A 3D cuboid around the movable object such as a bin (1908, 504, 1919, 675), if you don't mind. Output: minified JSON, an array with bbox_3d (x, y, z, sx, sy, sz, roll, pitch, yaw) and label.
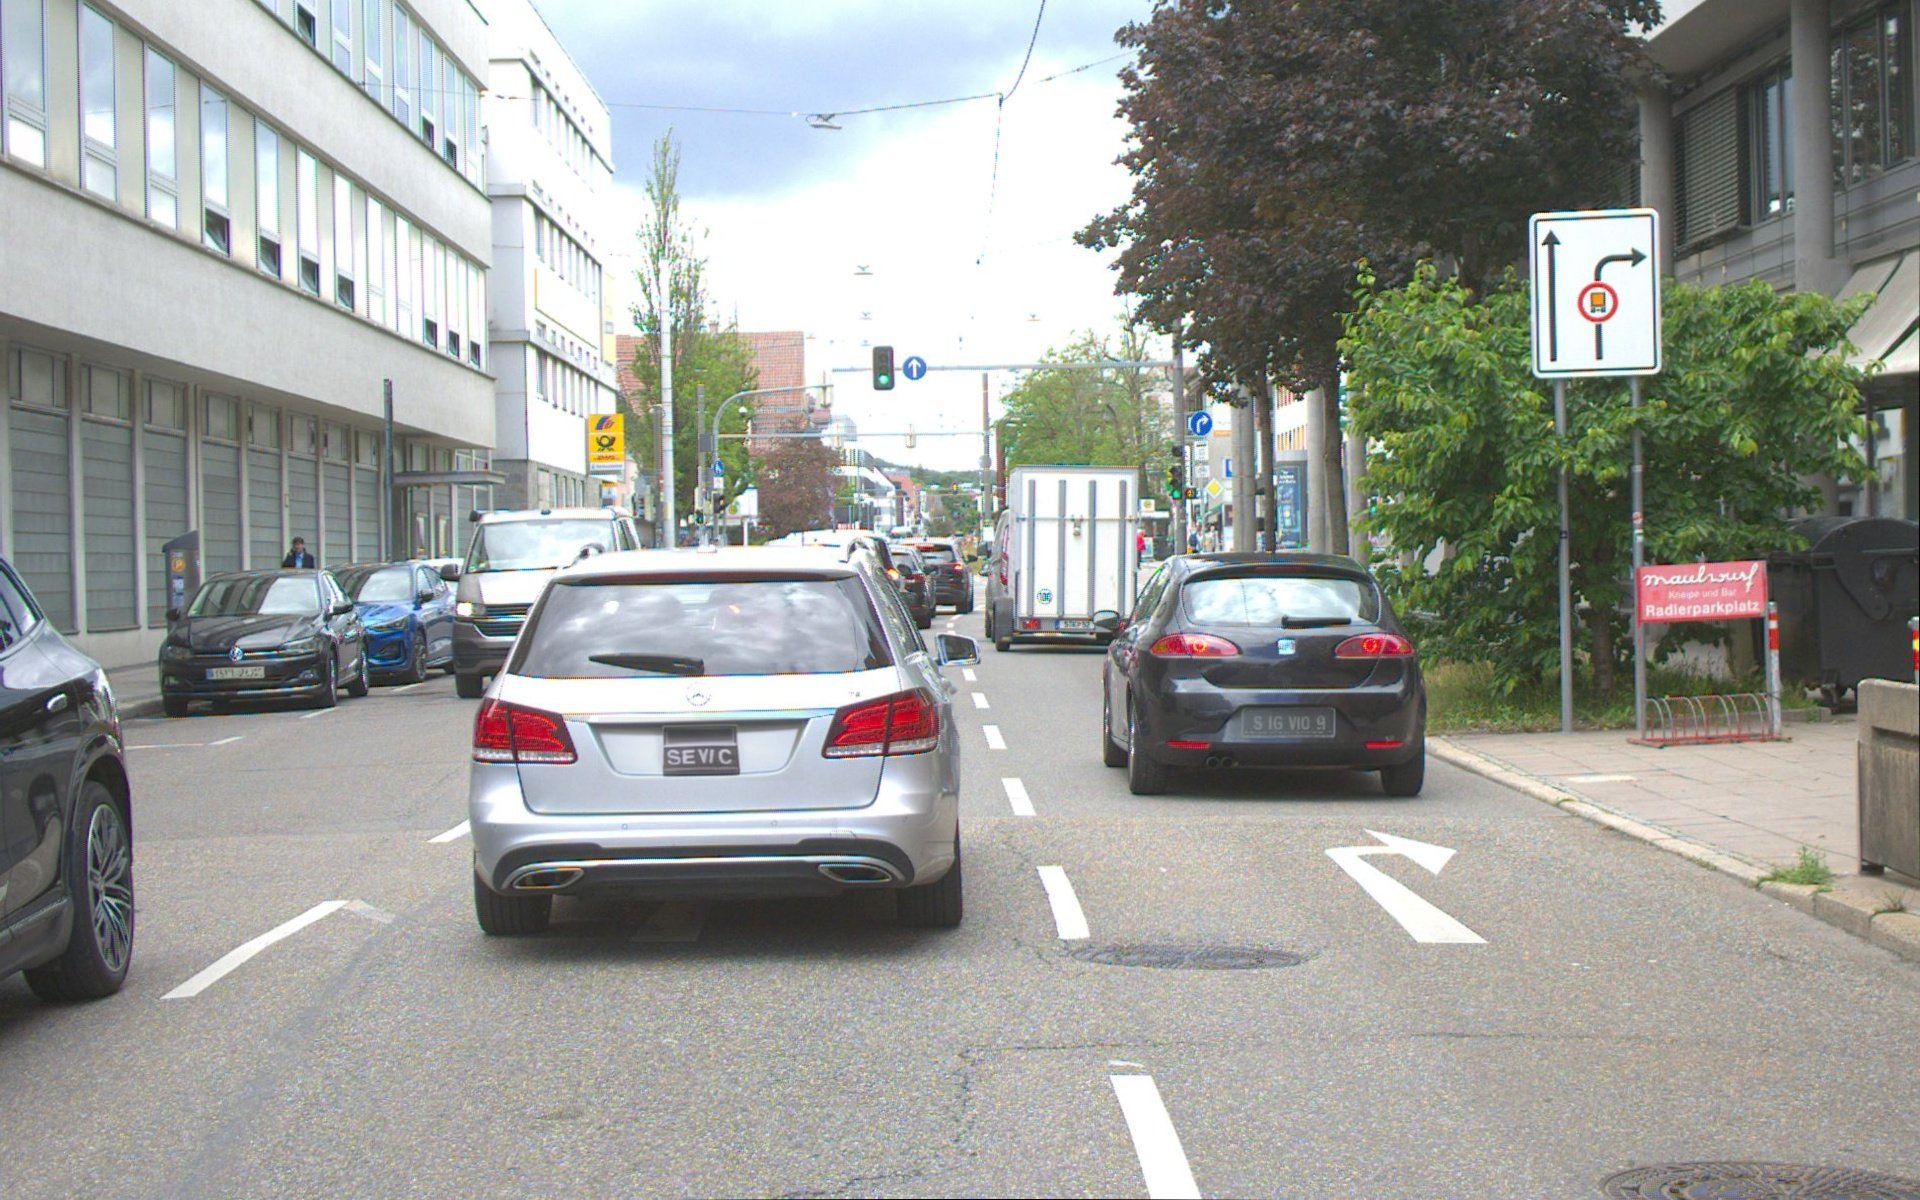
[{"bbox_3d":[8.813,-0.110,29.959,0.821,1.499,0.732,-3,0,1],"label":"movable object such as a bin"}]

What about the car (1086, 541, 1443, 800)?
[{"bbox_3d":[1.795,0.368,21.382,1.765,1.428,3.829,-1,1,-1],"label":"car"}]

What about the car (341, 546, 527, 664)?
[{"bbox_3d":[-7.215,0.031,47.546,1.993,1.511,4.175,-1,1,-1],"label":"car"}]

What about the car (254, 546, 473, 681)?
[{"bbox_3d":[-7.187,0.118,41.840,1.993,1.511,4.175,-1,1,-1],"label":"car"}]

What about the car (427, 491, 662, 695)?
[{"bbox_3d":[-4.455,-0.115,37.576,1.993,2.007,4.903,-2,1,-1],"label":"car"}]

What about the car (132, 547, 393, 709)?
[{"bbox_3d":[-7.243,0.245,36.107,1.912,1.511,4.175,-2,1,-1],"label":"car"}]

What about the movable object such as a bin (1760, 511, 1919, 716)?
[{"bbox_3d":[6.710,0.084,25.815,0.943,1.465,1.446,-3,1,-3],"label":"movable object such as a bin"}]

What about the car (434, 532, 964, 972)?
[{"bbox_3d":[-0.940,0.489,13.755,1.803,1.487,3.738,-1,1,-1],"label":"car"}]

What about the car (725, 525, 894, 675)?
[{"bbox_3d":[-1.651,-0.038,38.639,1.803,1.596,3.738,0,1,-1],"label":"car"}]

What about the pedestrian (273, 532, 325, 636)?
[{"bbox_3d":[-10.420,-0.260,54.236,0.656,1.617,0.681,-1,1,1],"label":"pedestrian"}]

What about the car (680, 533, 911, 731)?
[{"bbox_3d":[-1.347,0.218,29.221,1.803,1.547,3.738,-1,1,-1],"label":"car"}]

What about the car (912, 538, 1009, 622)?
[{"bbox_3d":[-0.023,-0.411,67.007,1.803,1.596,3.738,0,1,-1],"label":"car"}]

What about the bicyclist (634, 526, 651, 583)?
[{"bbox_3d":[-9.557,-1.376,103.482,0.445,1.691,0.555,0,1,-1],"label":"bicyclist"}]

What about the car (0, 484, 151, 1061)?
[{"bbox_3d":[-3.904,0.566,10.084,1.993,1.733,4.554,-3,1,-1],"label":"car"}]

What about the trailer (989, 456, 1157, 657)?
[{"bbox_3d":[1.505,-0.624,47.743,1.993,2.598,5.350,-1,1,-1],"label":"trailer"}]

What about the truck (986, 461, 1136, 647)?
[{"bbox_3d":[1.445,-0.686,50.495,1.993,2.598,3.260,-1,1,-1],"label":"truck"}]

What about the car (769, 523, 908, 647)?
[{"bbox_3d":[-1.609,-0.227,46.364,1.803,1.596,3.738,0,1,-1],"label":"car"}]

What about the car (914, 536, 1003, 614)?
[{"bbox_3d":[-0.066,-0.557,72.722,1.803,1.596,3.738,0,1,-1],"label":"car"}]

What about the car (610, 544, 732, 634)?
[{"bbox_3d":[-4.924,-0.211,58.957,1.769,1.408,4.175,-2,1,-1],"label":"car"}]

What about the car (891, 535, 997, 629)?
[{"bbox_3d":[-0.309,-0.338,60.194,1.803,1.596,3.738,0,1,-1],"label":"car"}]
